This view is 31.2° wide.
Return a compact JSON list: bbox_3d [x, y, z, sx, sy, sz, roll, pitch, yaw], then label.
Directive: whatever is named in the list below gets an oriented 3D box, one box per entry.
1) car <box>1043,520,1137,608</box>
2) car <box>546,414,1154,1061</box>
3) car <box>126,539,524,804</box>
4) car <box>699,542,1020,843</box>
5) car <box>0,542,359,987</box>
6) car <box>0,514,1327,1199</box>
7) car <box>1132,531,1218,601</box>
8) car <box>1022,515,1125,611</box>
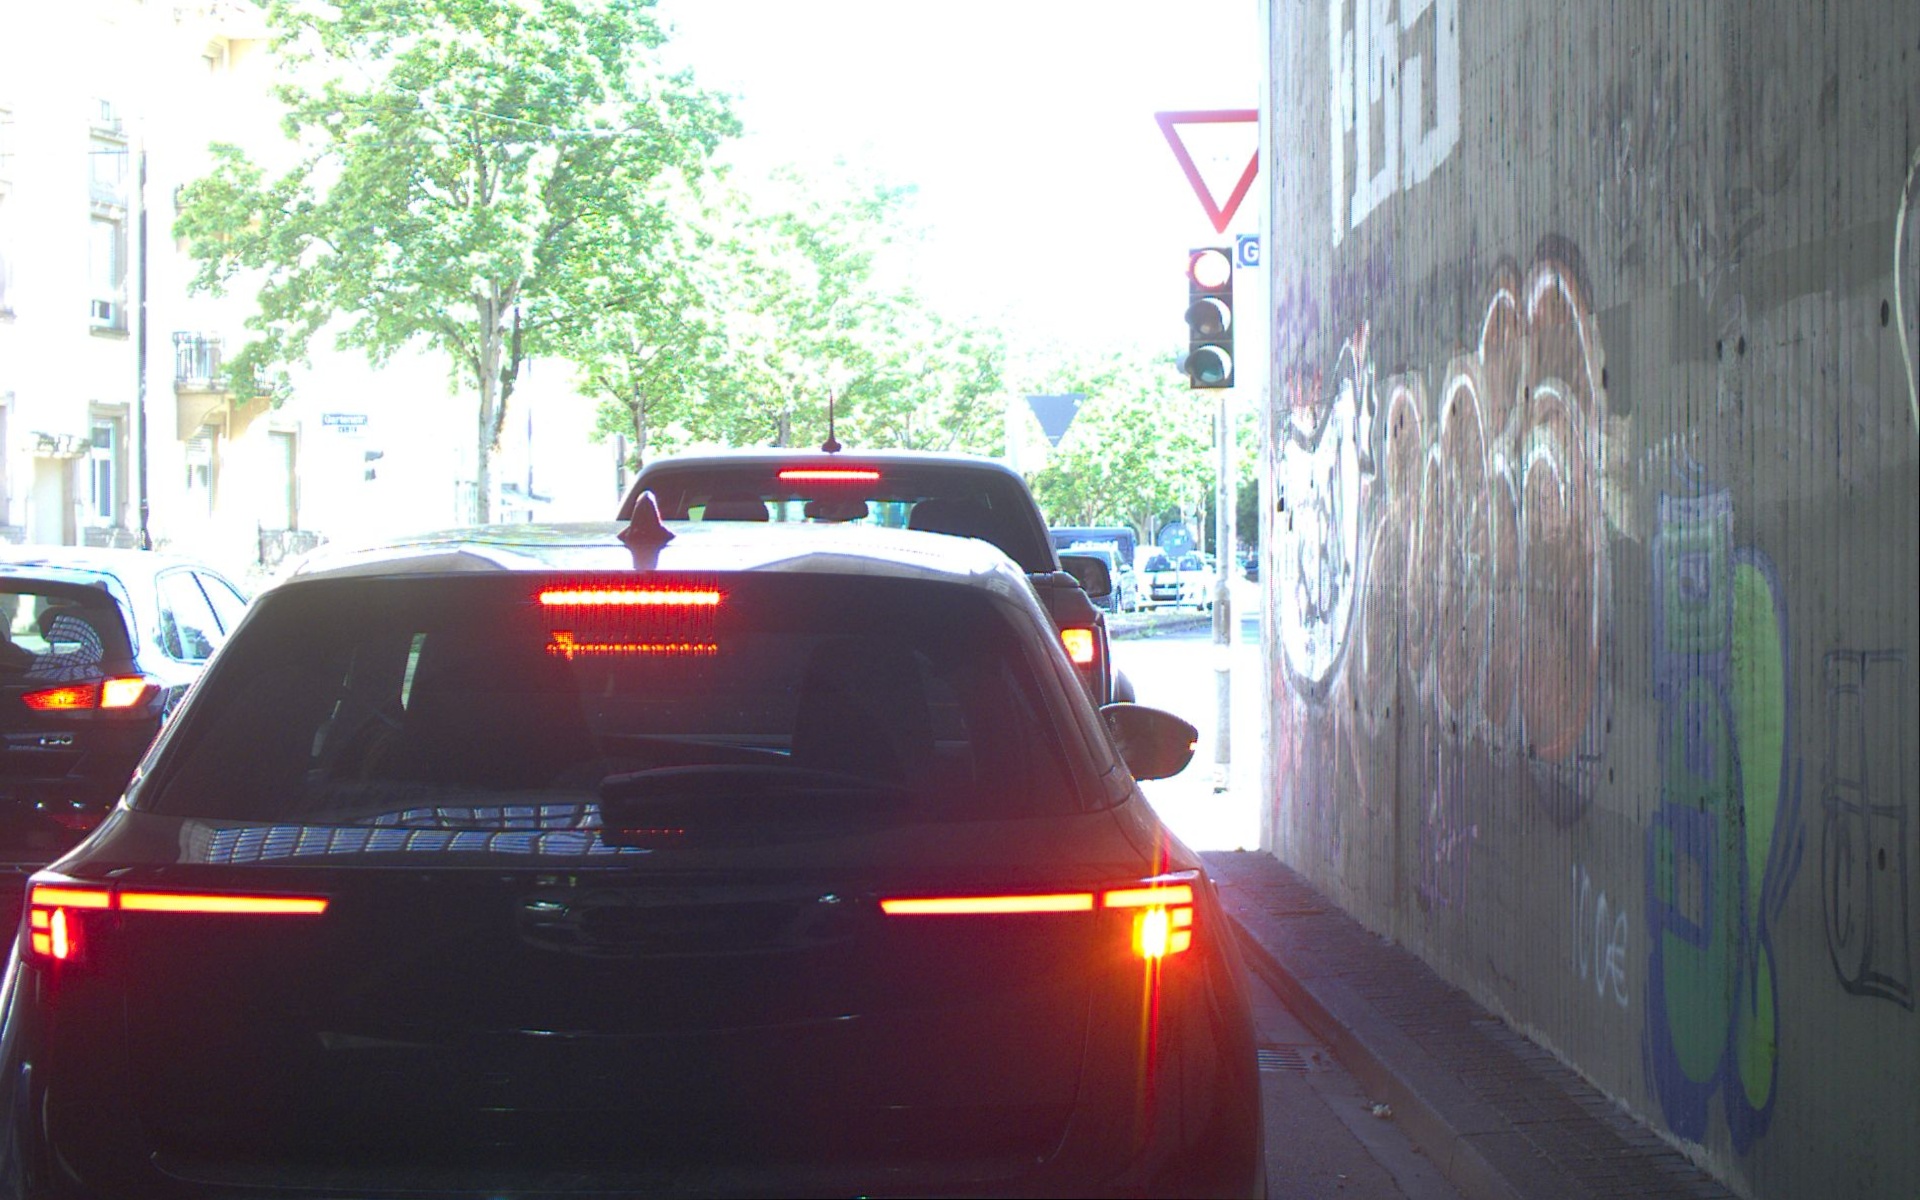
[{"bbox_3d":[2.606,-0.716,68.324,1.754,1.661,3.944,1,1,3],"label":"car"},{"bbox_3d":[-0.343,0.367,12.050,1.762,1.876,4.146,0,1,-1],"label":"car"},{"bbox_3d":[-3.770,0.366,21.022,1.762,1.475,3.844,0,1,-1],"label":"car"},{"bbox_3d":[-0.528,0.429,19.270,1.609,1.508,4.054,0,1,-1],"label":"car"},{"bbox_3d":[-3.520,0.512,13.298,1.762,1.475,3.844,0,1,-1],"label":"car"},{"bbox_3d":[-0.472,0.629,6.109,1.762,1.526,4.089,0,1,-1],"label":"car"},{"bbox_3d":[5.326,-0.846,84.967,1.754,1.661,3.943,1,1,9],"label":"car"},{"bbox_3d":[2.086,-0.661,62.205,1.754,1.661,3.944,1,1,3],"label":"car"}]
